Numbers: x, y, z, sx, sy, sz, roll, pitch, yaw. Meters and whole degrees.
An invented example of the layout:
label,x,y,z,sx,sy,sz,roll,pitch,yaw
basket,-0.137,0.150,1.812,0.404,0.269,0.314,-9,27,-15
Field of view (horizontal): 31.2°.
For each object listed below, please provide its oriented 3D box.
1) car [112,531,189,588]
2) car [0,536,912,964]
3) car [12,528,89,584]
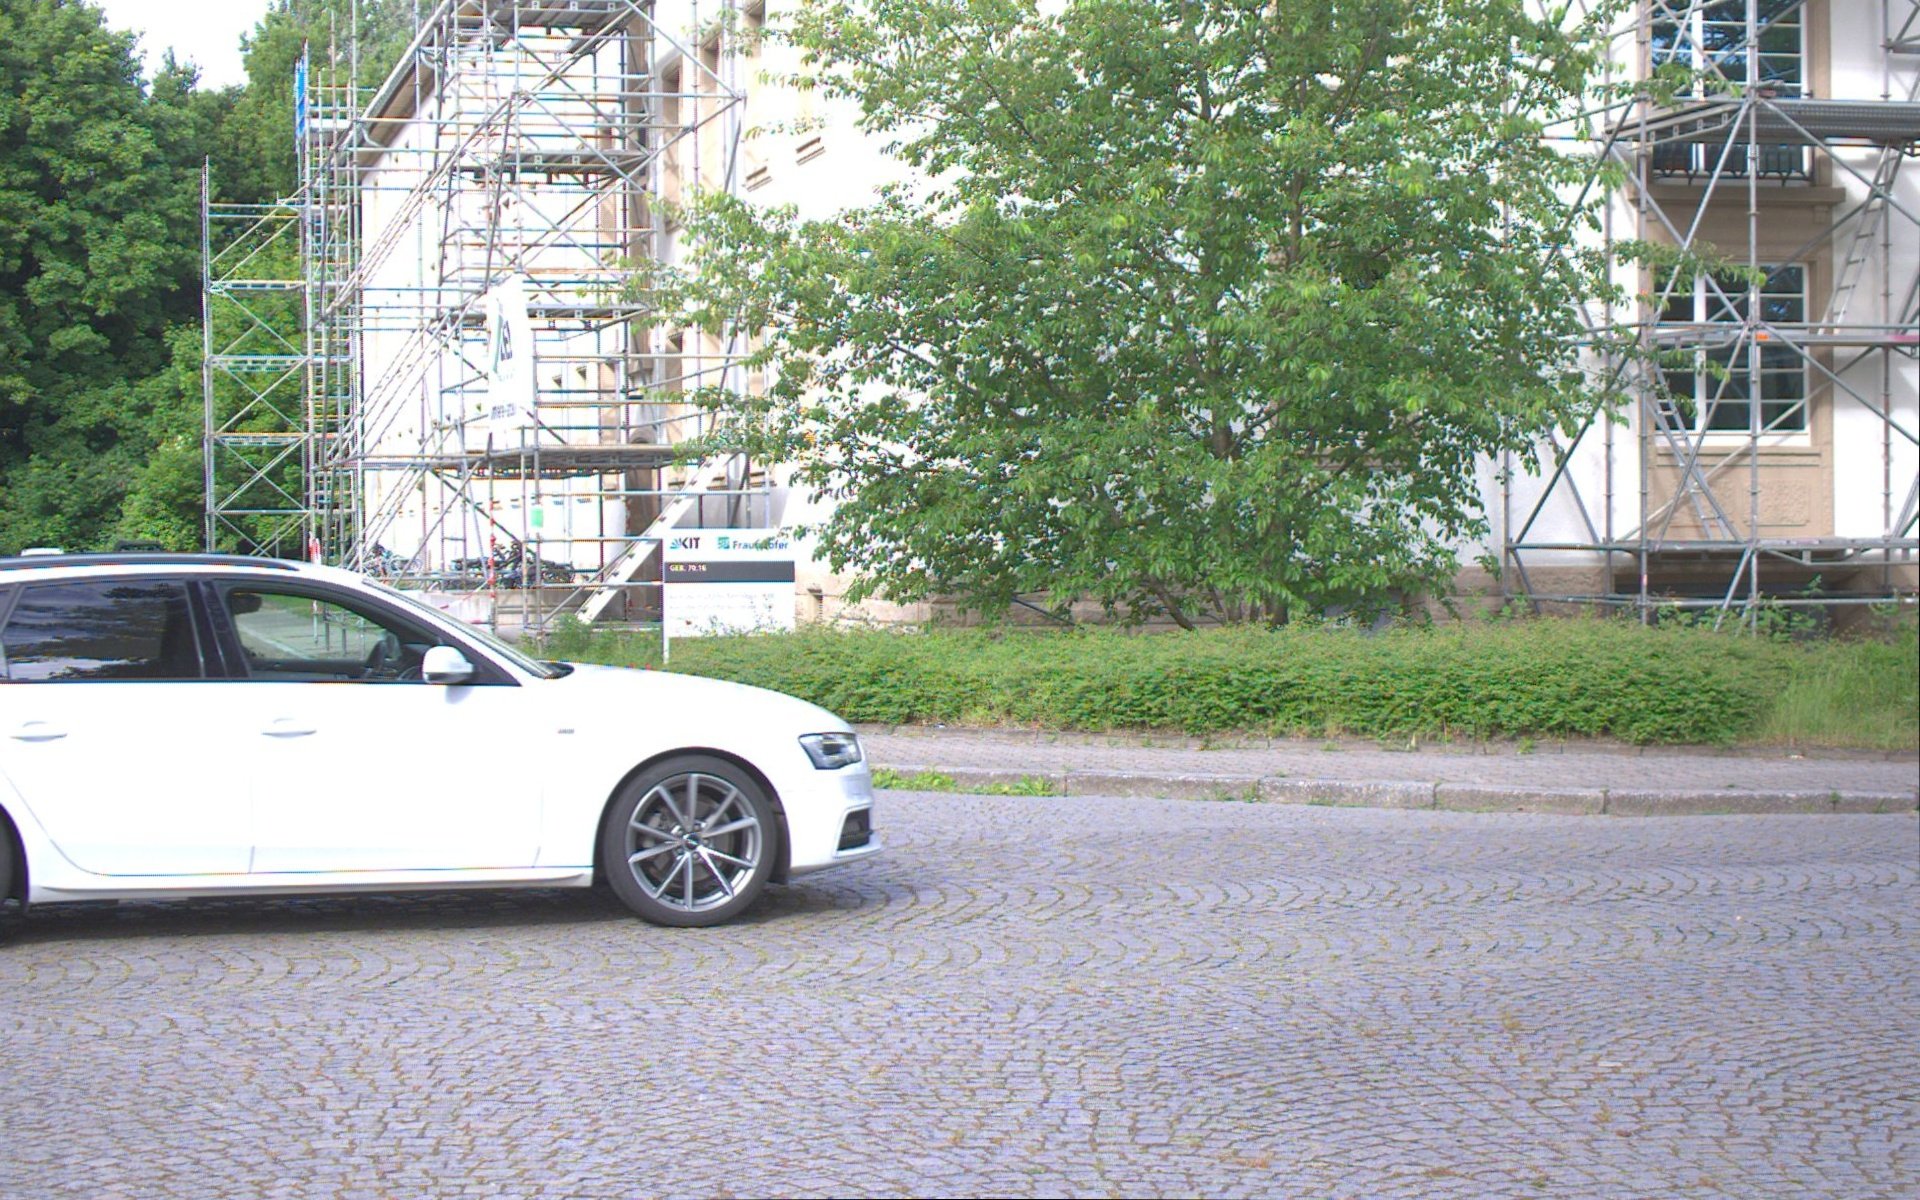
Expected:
label,x,y,z,sx,sy,sz,roll,pitch,yaw
car,-24.104,-1.179,102.468,2.063,1.588,4.001,2,0,-11
car,-2.687,0.515,13.232,4.689,1.432,1.855,-1,3,-15
car,-26.854,-1.283,101.439,2.000,1.543,3.959,2,0,-17
